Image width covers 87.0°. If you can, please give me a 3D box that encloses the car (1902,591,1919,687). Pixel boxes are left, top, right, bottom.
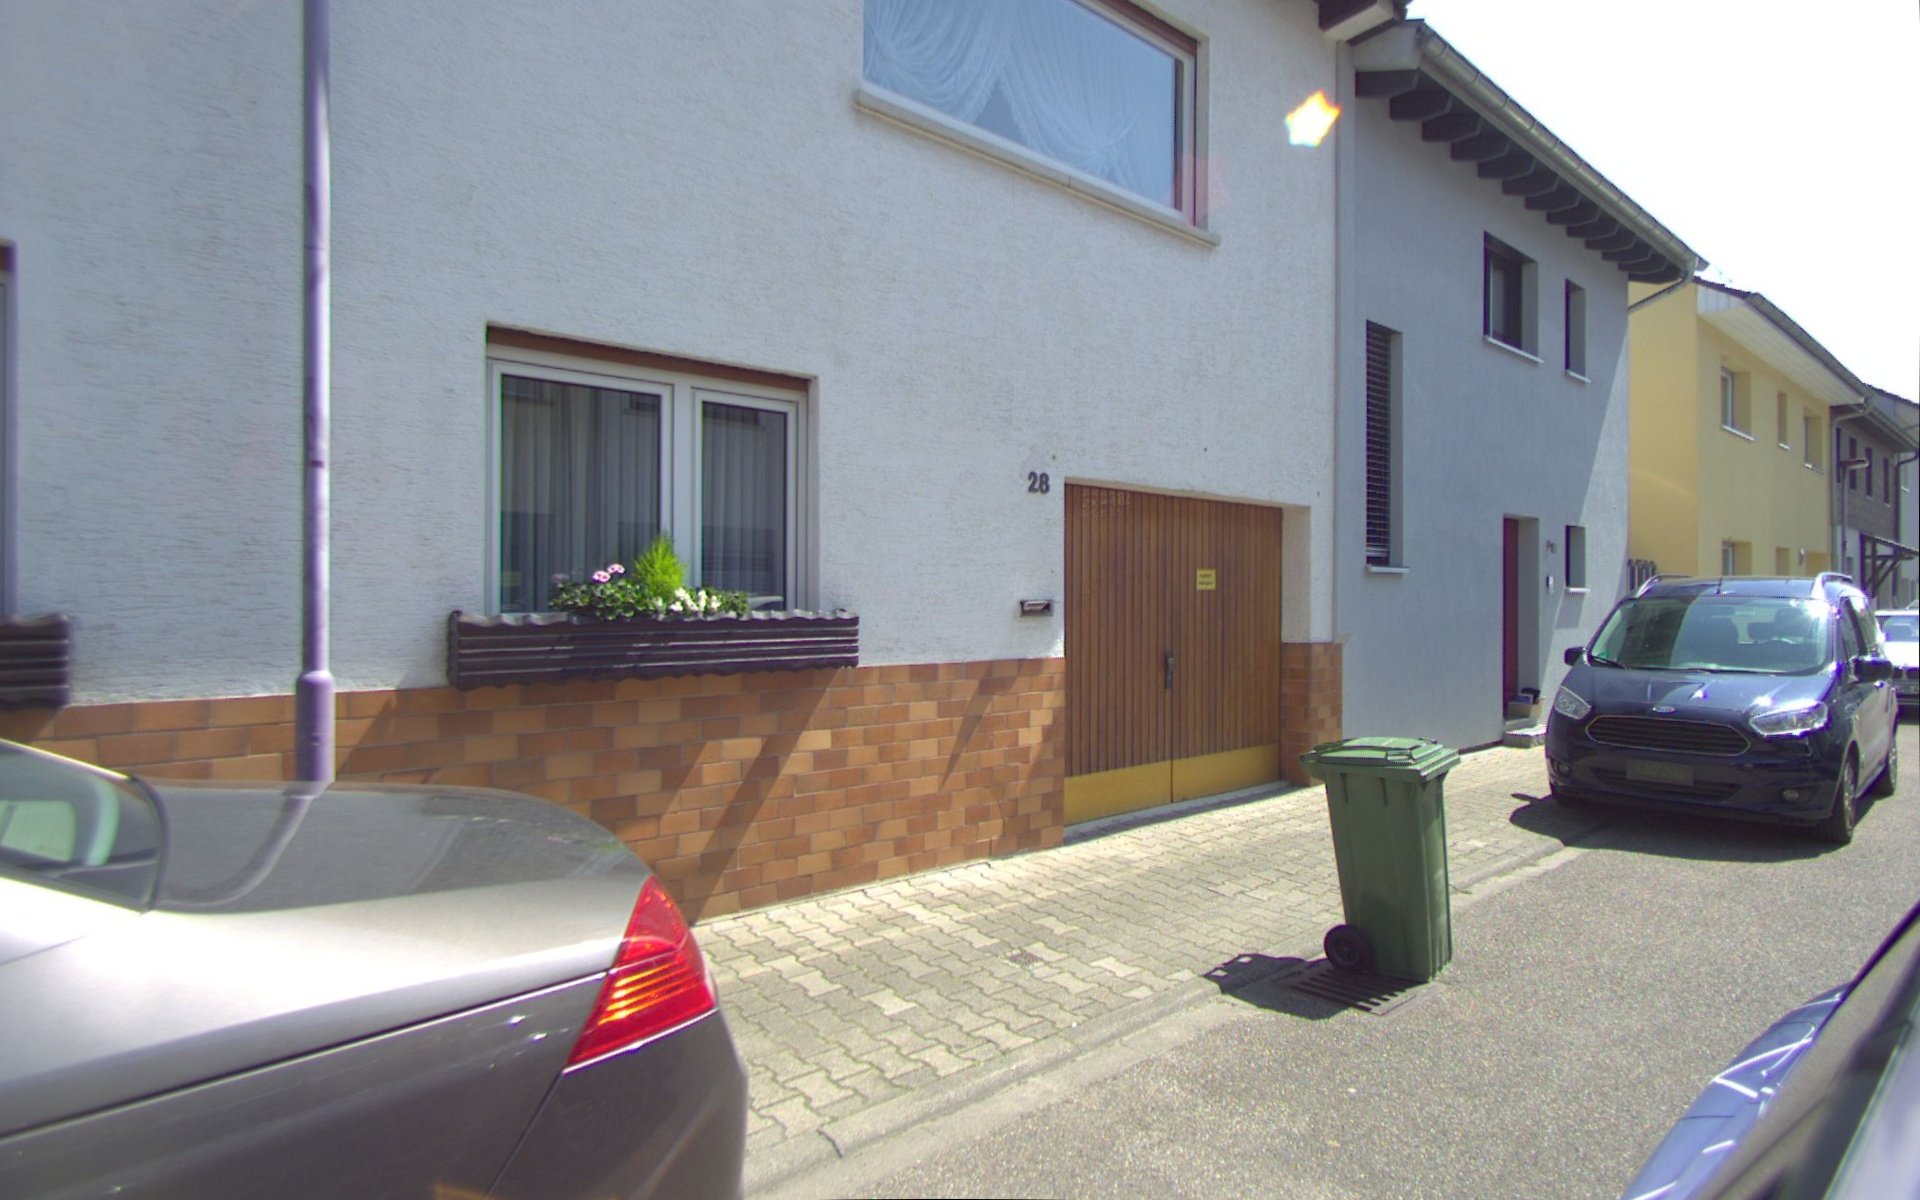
[{"bbox_3d":[17.854,0.641,17.735,3.895,1.604,1.681,0,0,-43],"label":"car"}]

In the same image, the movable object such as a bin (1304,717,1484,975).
[{"bbox_3d":[1.863,1.005,4.344,0.549,0.903,0.570,0,0,43],"label":"movable object such as a bin"}]

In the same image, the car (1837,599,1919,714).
[{"bbox_3d":[13.888,0.736,14.311,4.174,1.432,1.665,0,1,-41],"label":"car"}]

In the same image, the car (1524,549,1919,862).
[{"bbox_3d":[6.048,0.566,7.827,4.127,1.799,1.699,-1,1,-42],"label":"car"}]

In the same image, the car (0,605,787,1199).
[{"bbox_3d":[-2.324,0.753,0.853,4.032,1.453,1.699,0,-1,-42],"label":"car"}]
